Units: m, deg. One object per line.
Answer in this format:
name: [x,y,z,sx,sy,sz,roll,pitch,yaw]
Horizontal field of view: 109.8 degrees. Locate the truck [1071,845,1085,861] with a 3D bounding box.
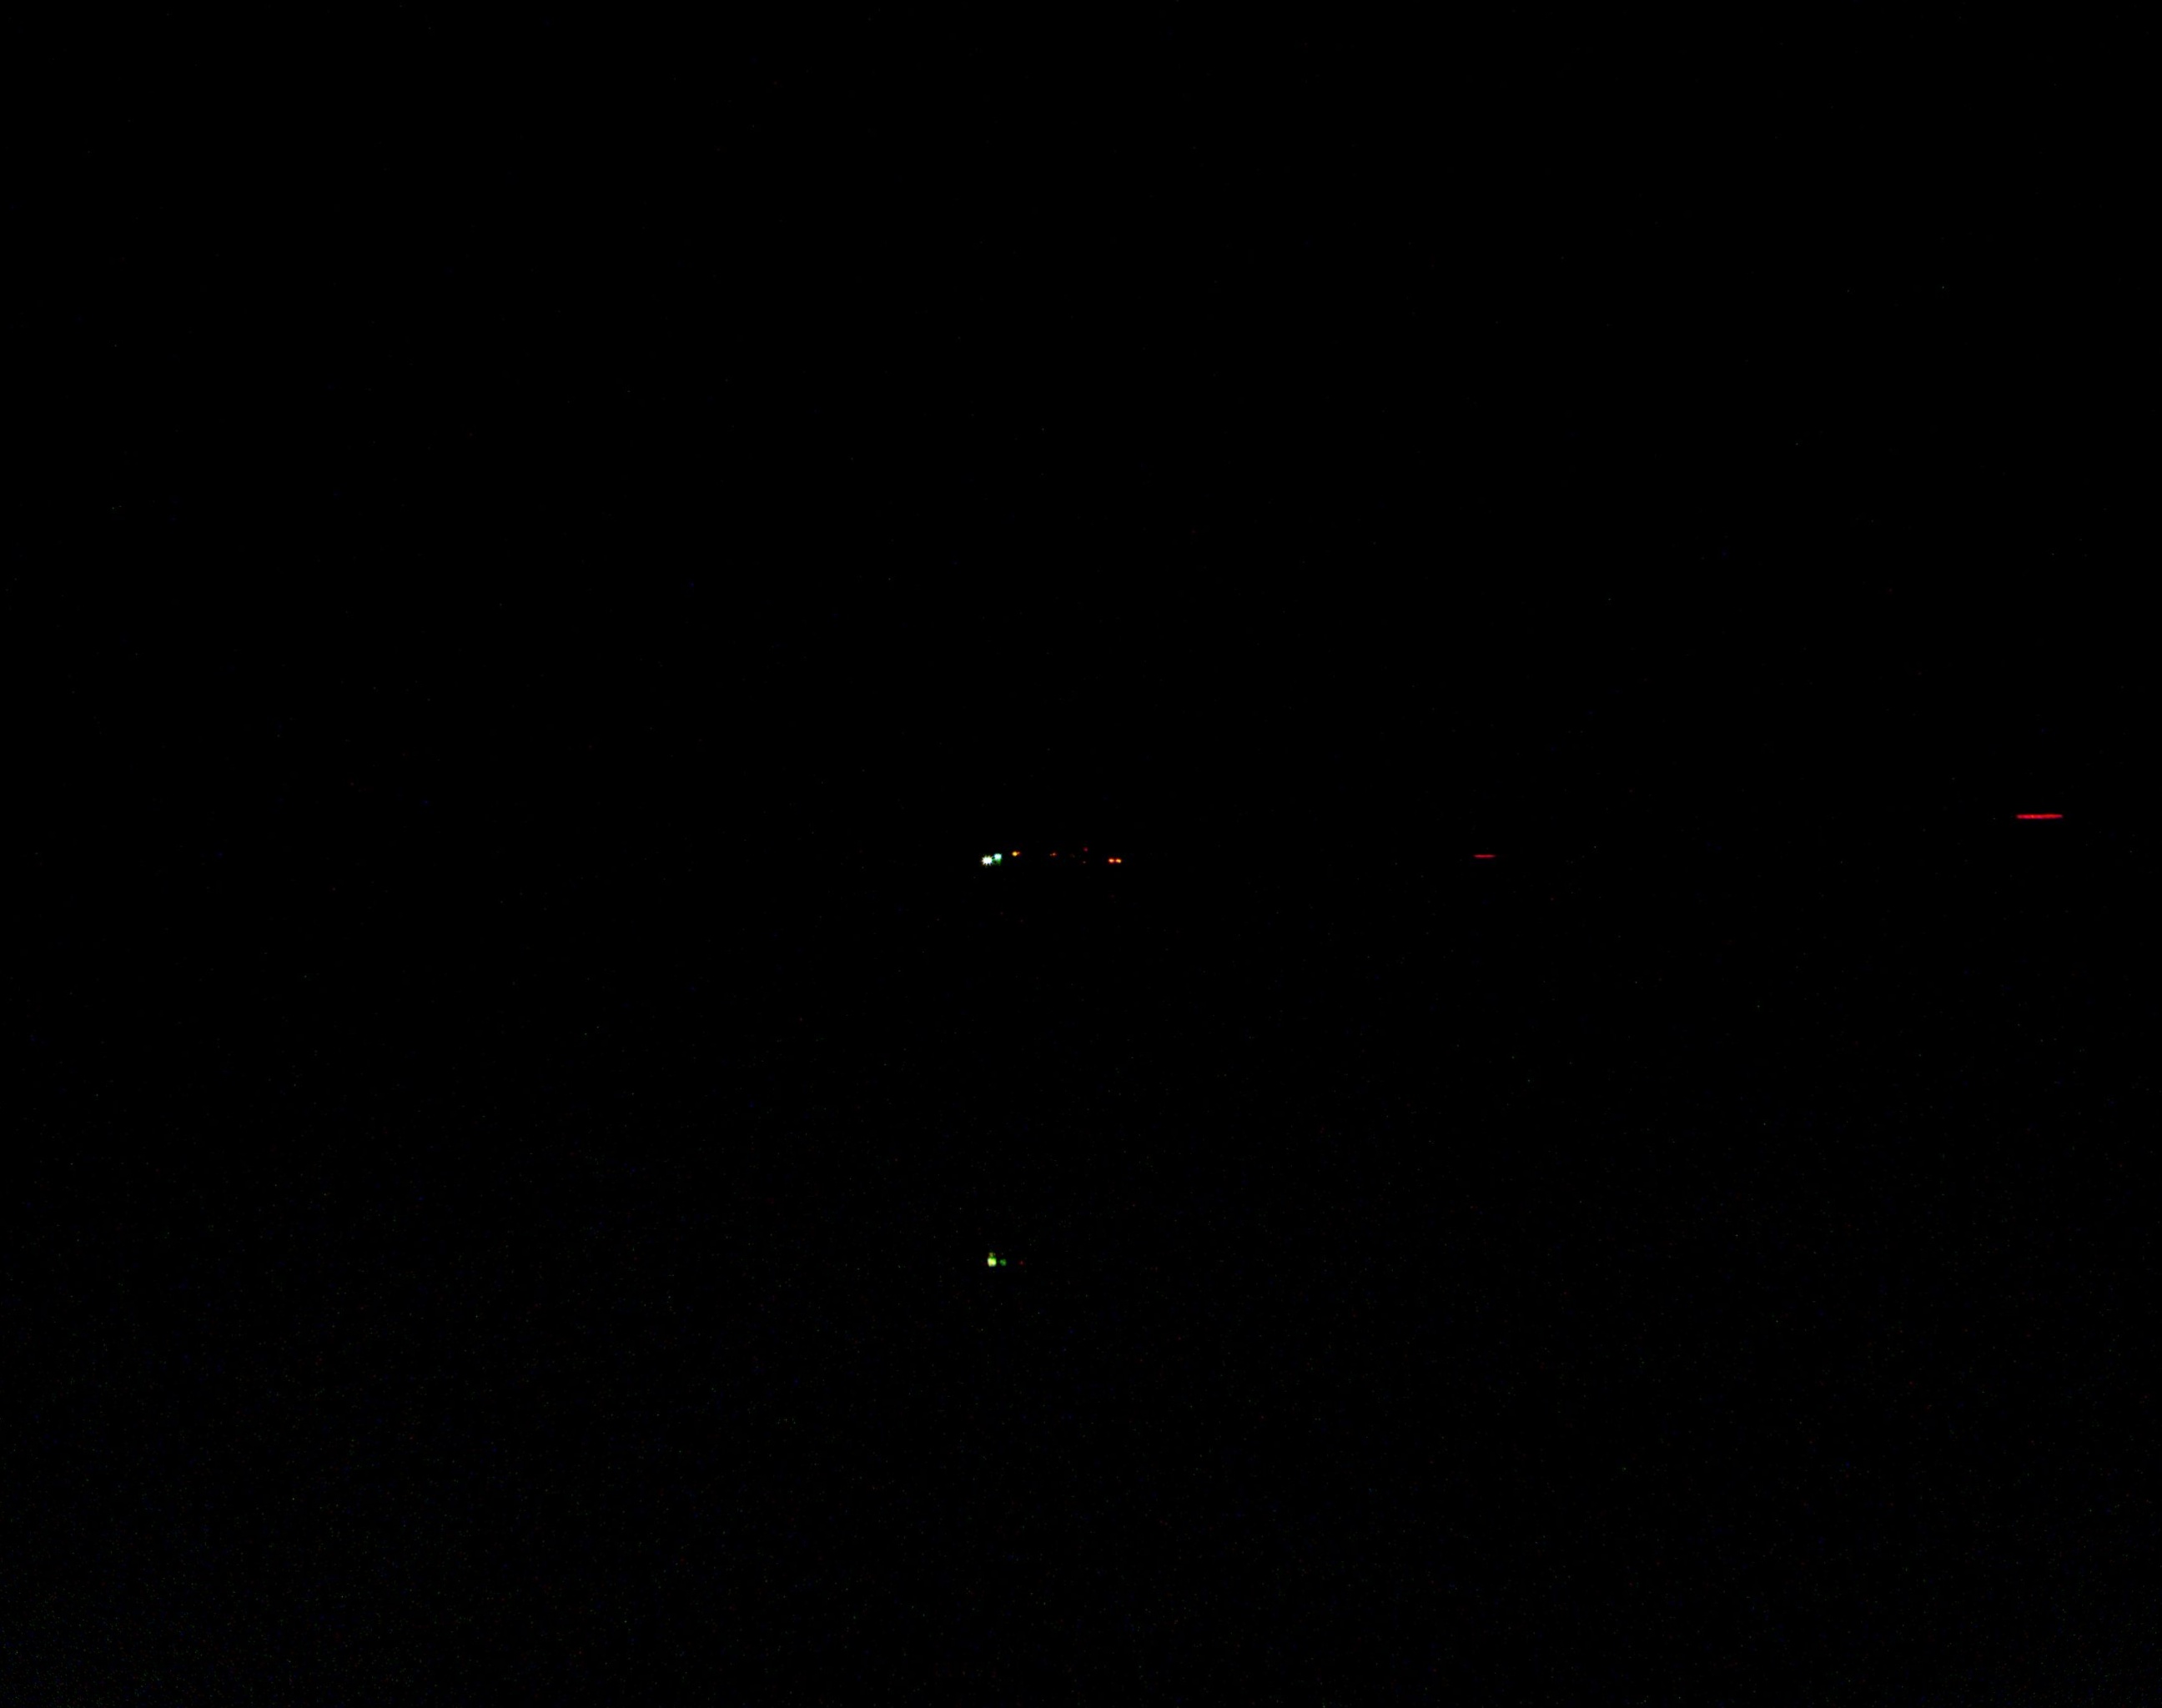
truck: [-0.827,-0.272,197.943,2.782,4.119,6.670,-1,0,-6]

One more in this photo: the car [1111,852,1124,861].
car: [6.612,0.453,137.866,1.999,1.548,4.293,-1,0,-4]

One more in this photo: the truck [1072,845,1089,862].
truck: [-0.164,-0.235,191.472,2.754,4.103,13.900,-1,0,-6]

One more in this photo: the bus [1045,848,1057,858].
bus: [-9.805,-0.350,248.573,2.794,3.092,12.509,-1,0,-7]
